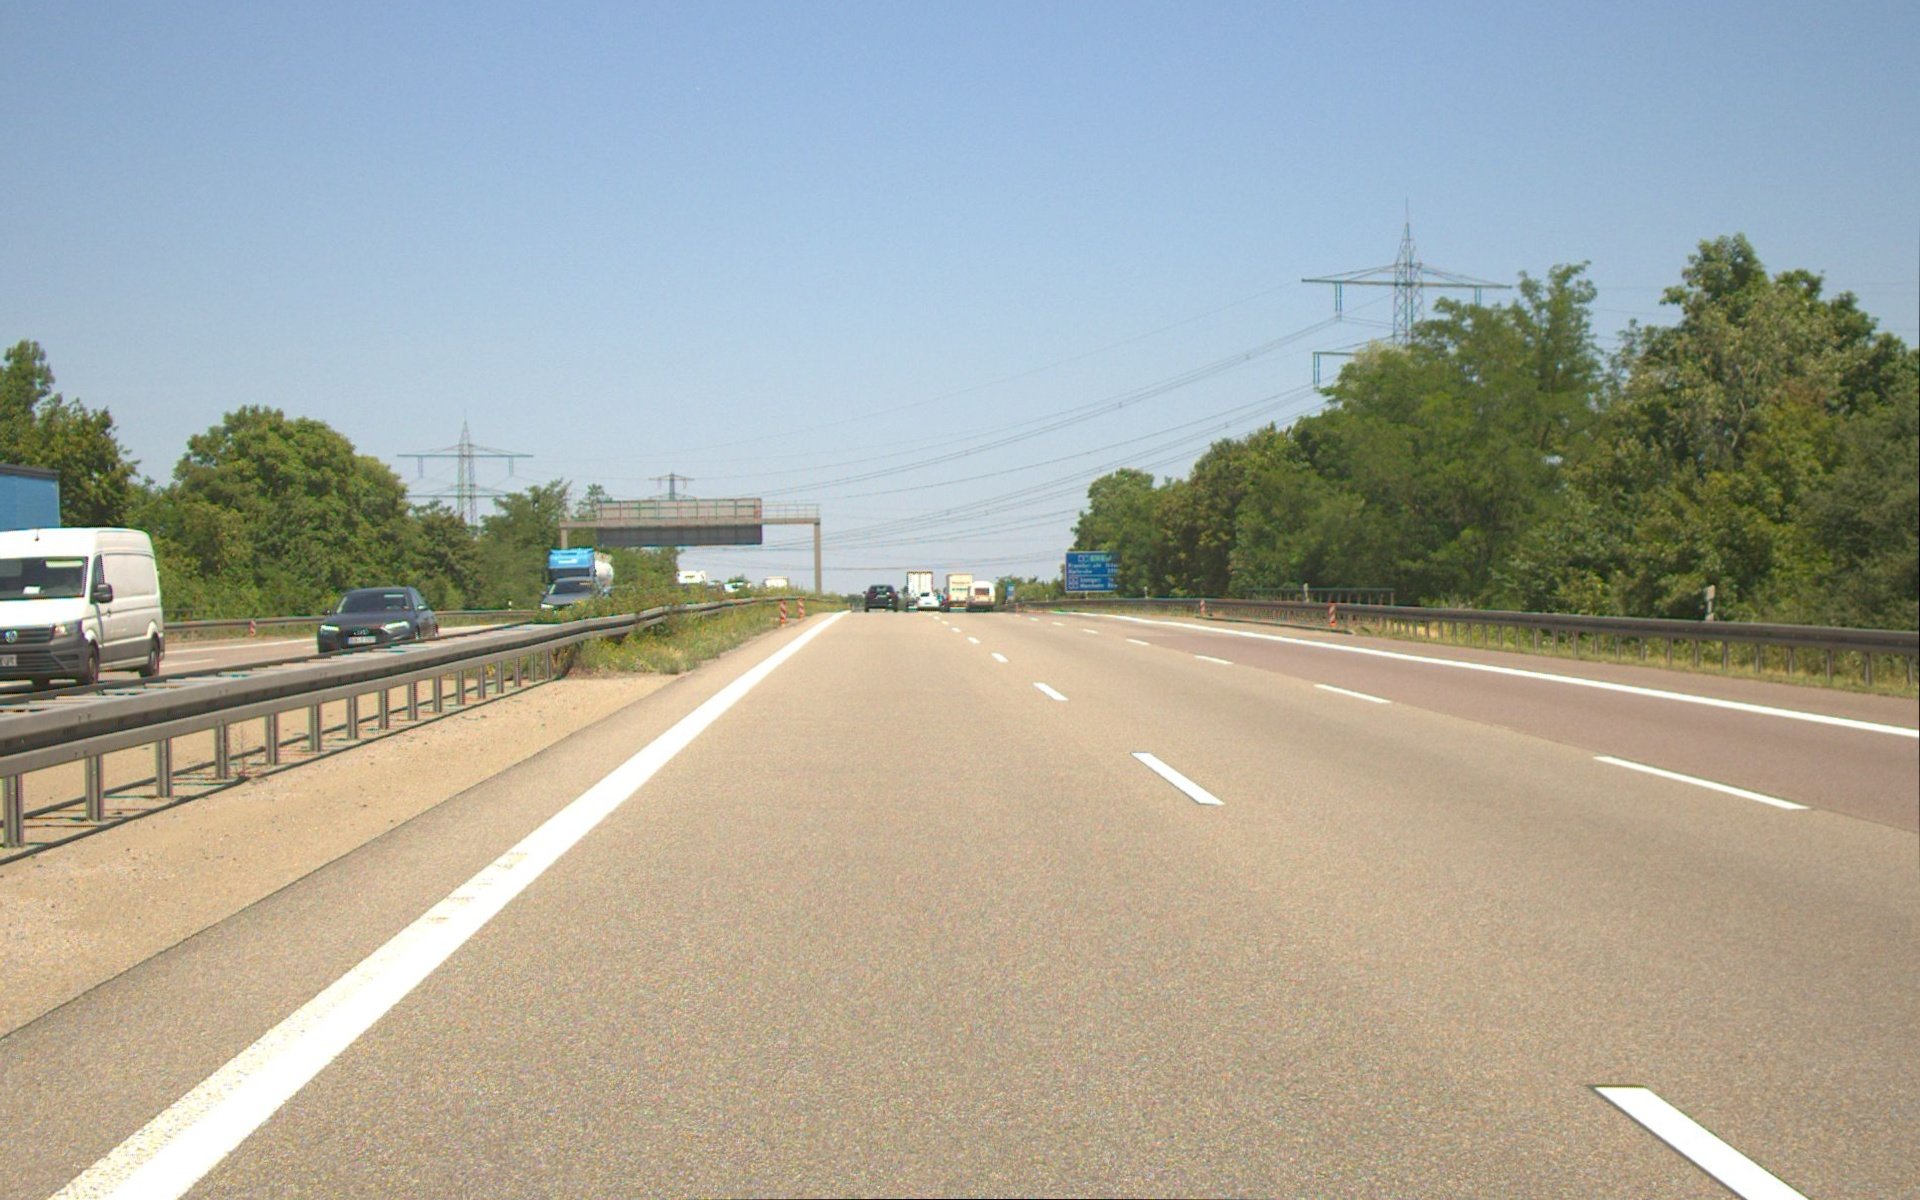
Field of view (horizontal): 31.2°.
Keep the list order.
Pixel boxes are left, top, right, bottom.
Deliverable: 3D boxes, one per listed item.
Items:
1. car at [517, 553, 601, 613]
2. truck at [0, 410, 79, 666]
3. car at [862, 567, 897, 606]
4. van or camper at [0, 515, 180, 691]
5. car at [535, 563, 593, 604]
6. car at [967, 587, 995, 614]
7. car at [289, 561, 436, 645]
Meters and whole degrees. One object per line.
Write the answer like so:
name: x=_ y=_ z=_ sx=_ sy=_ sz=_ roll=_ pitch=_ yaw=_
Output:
car: x=-12.091 y=-0.530 z=103.840 sx=1.993 sy=1.724 sz=5.108 roll=-1 pitch=1 yaw=-1
truck: x=-19.120 y=-1.037 z=60.376 sx=3.225 sy=4.704 sz=16.861 roll=-3 pitch=1 yaw=-2
car: x=-4.244 y=-0.703 z=182.118 sx=1.791 sy=2.007 sz=3.887 roll=1 pitch=0 yaw=-1
van or camper: x=-14.168 y=0.030 z=54.837 sx=1.993 sy=2.557 sz=7.036 roll=-3 pitch=1 yaw=-2
car: x=-16.252 y=-0.698 z=141.158 sx=1.993 sy=1.612 sz=4.000 roll=-1 pitch=0 yaw=-2
car: x=1.576 y=0.005 z=260.974 sx=1.993 sy=2.007 sz=4.000 roll=-1 pitch=0 yaw=-2
car: x=-11.182 y=0.024 z=64.630 sx=1.993 sy=1.479 sz=4.787 roll=-1 pitch=1 yaw=-1
